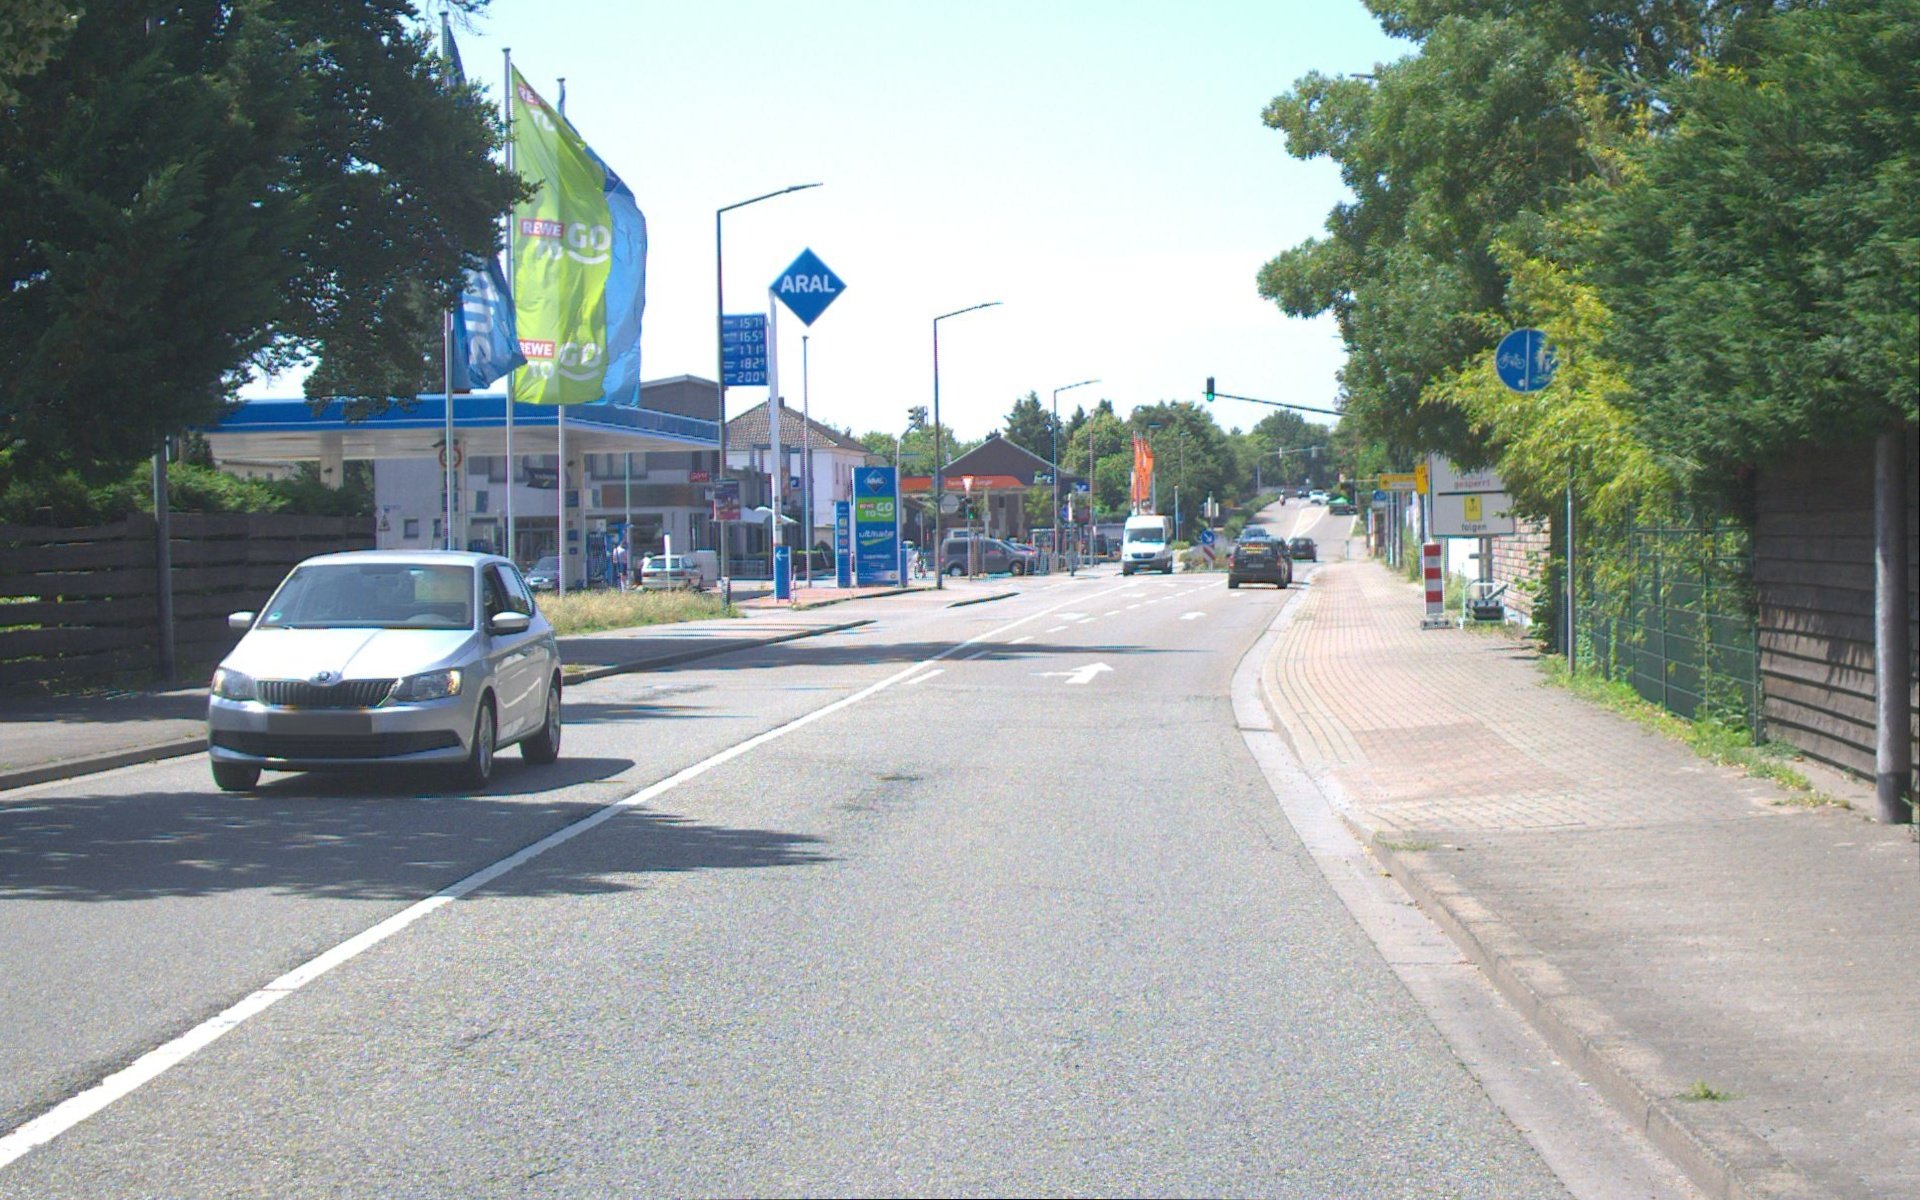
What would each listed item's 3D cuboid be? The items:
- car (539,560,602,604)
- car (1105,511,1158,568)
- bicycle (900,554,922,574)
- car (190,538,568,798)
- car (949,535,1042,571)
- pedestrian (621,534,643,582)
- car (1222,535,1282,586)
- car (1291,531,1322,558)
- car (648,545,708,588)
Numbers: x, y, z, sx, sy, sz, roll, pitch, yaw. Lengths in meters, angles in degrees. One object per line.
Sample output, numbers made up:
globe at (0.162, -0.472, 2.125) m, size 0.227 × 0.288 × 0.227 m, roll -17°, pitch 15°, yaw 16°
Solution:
car at (-13.825, -0.642, 122.139) m, size 1.617 × 1.415 × 3.712 m, roll -3°, pitch 1°, yaw 2°
car at (7.653, -2.680, 153.316) m, size 1.994 × 2.414 × 5.946 m, roll 0°, pitch 0°, yaw 6°
bicycle at (-2.040, -1.516, 143.285) m, size 0.613 × 0.790 × 2.574 m, roll -1°, pitch 1°, yaw 6°
car at (-3.627, 0.369, 22.048) m, size 1.612 × 1.477 × 3.707 m, roll -1°, pitch 1°, yaw 3°
car at (1.580, -2.074, 151.592) m, size 3.987 × 1.503 × 1.555 m, roll -1°, pitch 1°, yaw 3°
pedestrian at (-11.727, -1.515, 122.943) m, size 0.610 × 1.685 × 0.709 m, roll -2°, pitch 1°, yaw -19°
car at (8.707, -1.190, 102.507) m, size 1.666 × 1.450 × 3.471 m, roll -1°, pitch 1°, yaw 6°
car at (19.949, -3.206, 197.872) m, size 1.666 × 1.450 × 3.471 m, roll -1°, pitch 1°, yaw 6°
car at (-10.017, -1.198, 122.332) m, size 1.617 × 1.415 × 3.712 m, roll -3°, pitch 1°, yaw 2°
